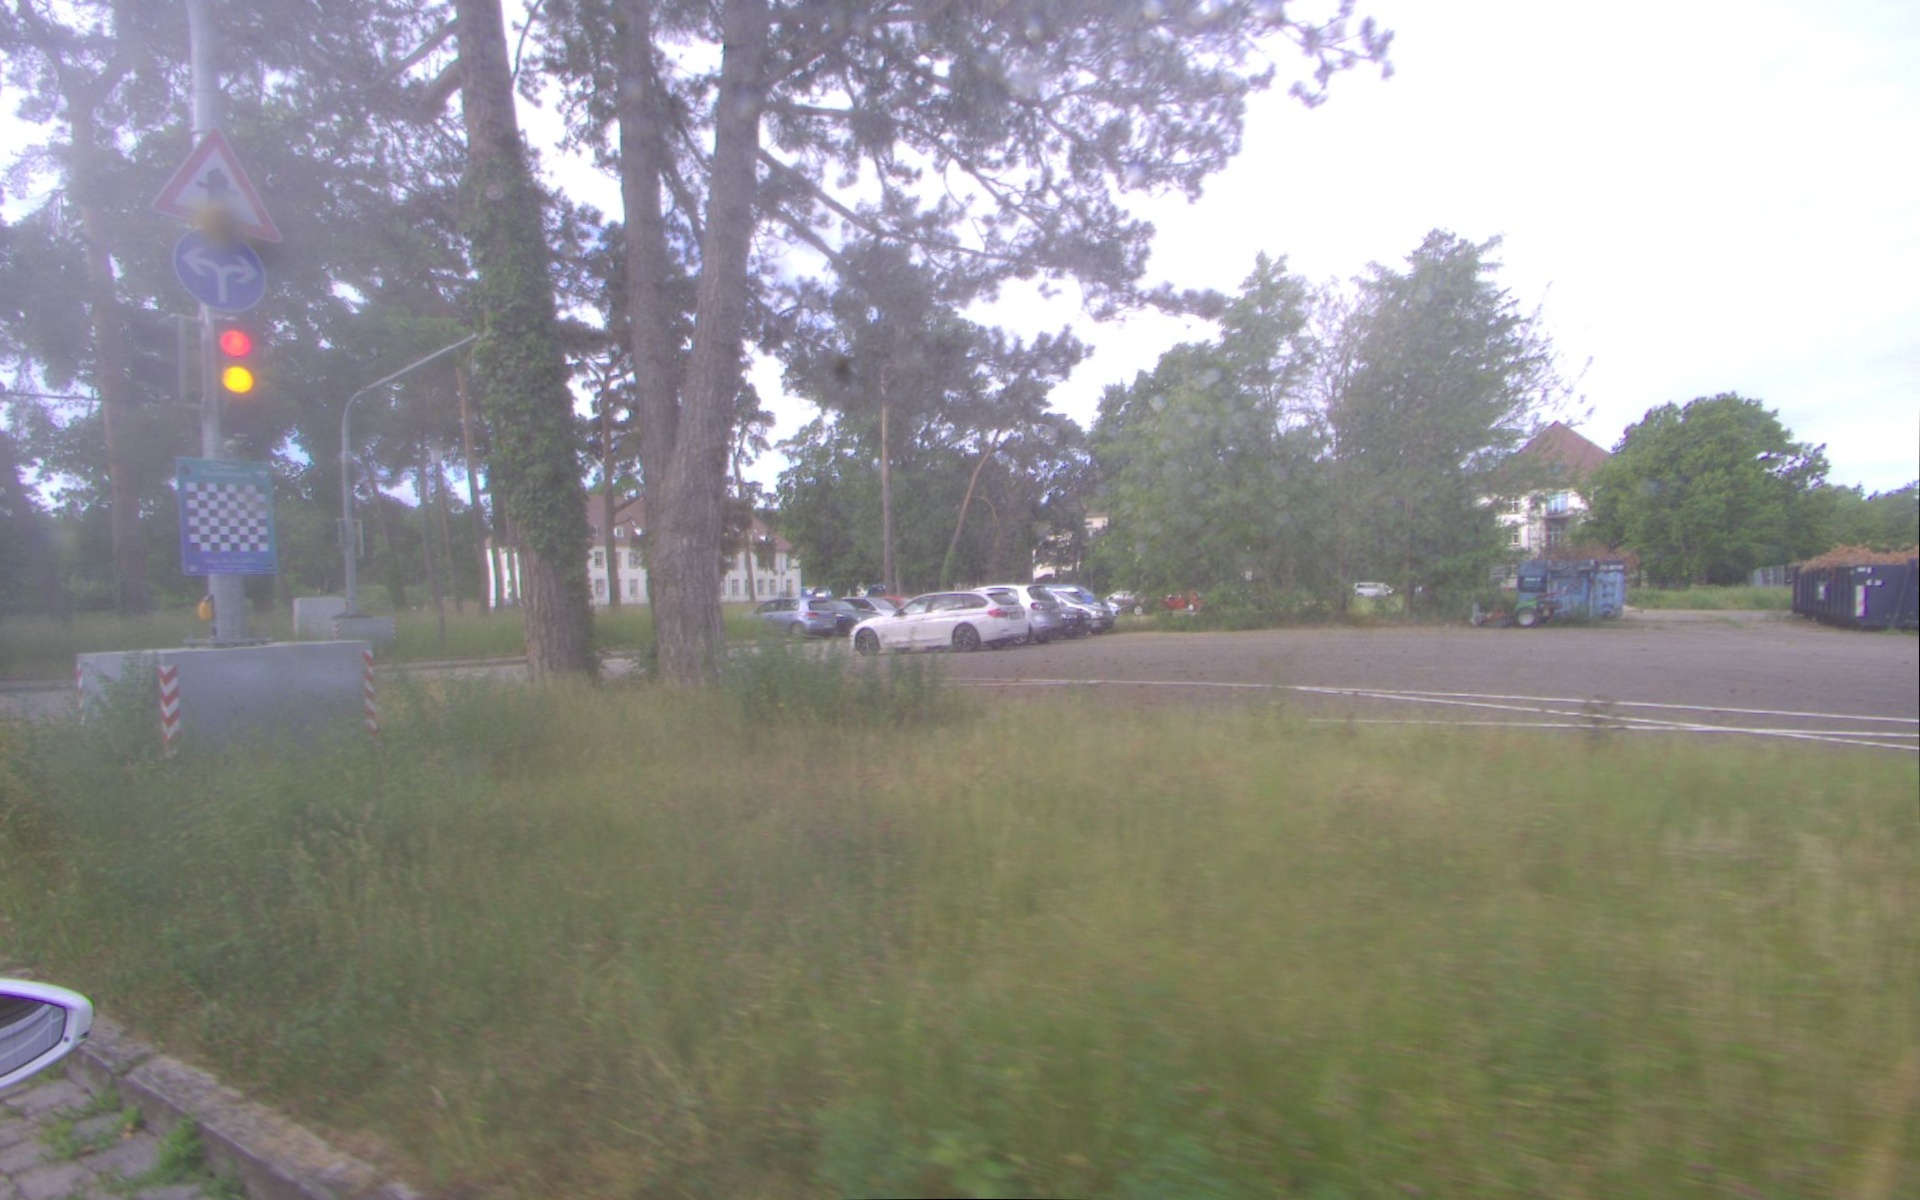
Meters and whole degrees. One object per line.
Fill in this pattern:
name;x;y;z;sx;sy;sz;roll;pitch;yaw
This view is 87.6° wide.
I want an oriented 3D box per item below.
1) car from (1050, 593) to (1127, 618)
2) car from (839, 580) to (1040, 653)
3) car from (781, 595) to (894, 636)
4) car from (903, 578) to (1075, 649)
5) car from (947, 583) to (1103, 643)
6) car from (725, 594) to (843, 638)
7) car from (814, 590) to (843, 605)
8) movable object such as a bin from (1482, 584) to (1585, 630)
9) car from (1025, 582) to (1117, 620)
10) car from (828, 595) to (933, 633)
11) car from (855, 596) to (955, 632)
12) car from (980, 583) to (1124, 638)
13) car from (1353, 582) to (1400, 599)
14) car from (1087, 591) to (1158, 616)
car;7.523;0.323;58.645;4.184;1.409;1.729;0;1;34
car;-0.523;0.439;24.319;4.541;1.505;1.846;-3;-2;29
car;-4.705;0.584;38.413;4.183;1.487;1.730;0;1;33
car;0.747;0.366;26.637;4.181;1.626;1.779;-3;0;29
car;1.855;0.388;29.043;4.186;1.504;1.696;-4;-1;33
car;-6.421;0.564;36.386;4.183;1.529;1.730;0;1;33
car;-18.107;-0.309;137.973;1.899;1.930;4.056;-1;-1;29
movable object such as a bin;14.664;0.189;25.665;2.176;1.149;0.960;-1;-1;23
car;6.244;0.065;56.549;4.724;2.053;2.131;0;1;33
car;-3.268;0.553;40.766;4.189;1.487;1.727;0;1;38
car;-2.399;0.587;43.020;4.189;1.487;1.727;0;1;38
car;2.865;0.355;31.640;4.186;1.504;1.696;-4;-1;33
car;52.030;-1.116;125.048;5.222;1.980;2.079;-1;-1;33
car;10.407;0.201;64.107;4.182;1.542;1.730;0;1;32
